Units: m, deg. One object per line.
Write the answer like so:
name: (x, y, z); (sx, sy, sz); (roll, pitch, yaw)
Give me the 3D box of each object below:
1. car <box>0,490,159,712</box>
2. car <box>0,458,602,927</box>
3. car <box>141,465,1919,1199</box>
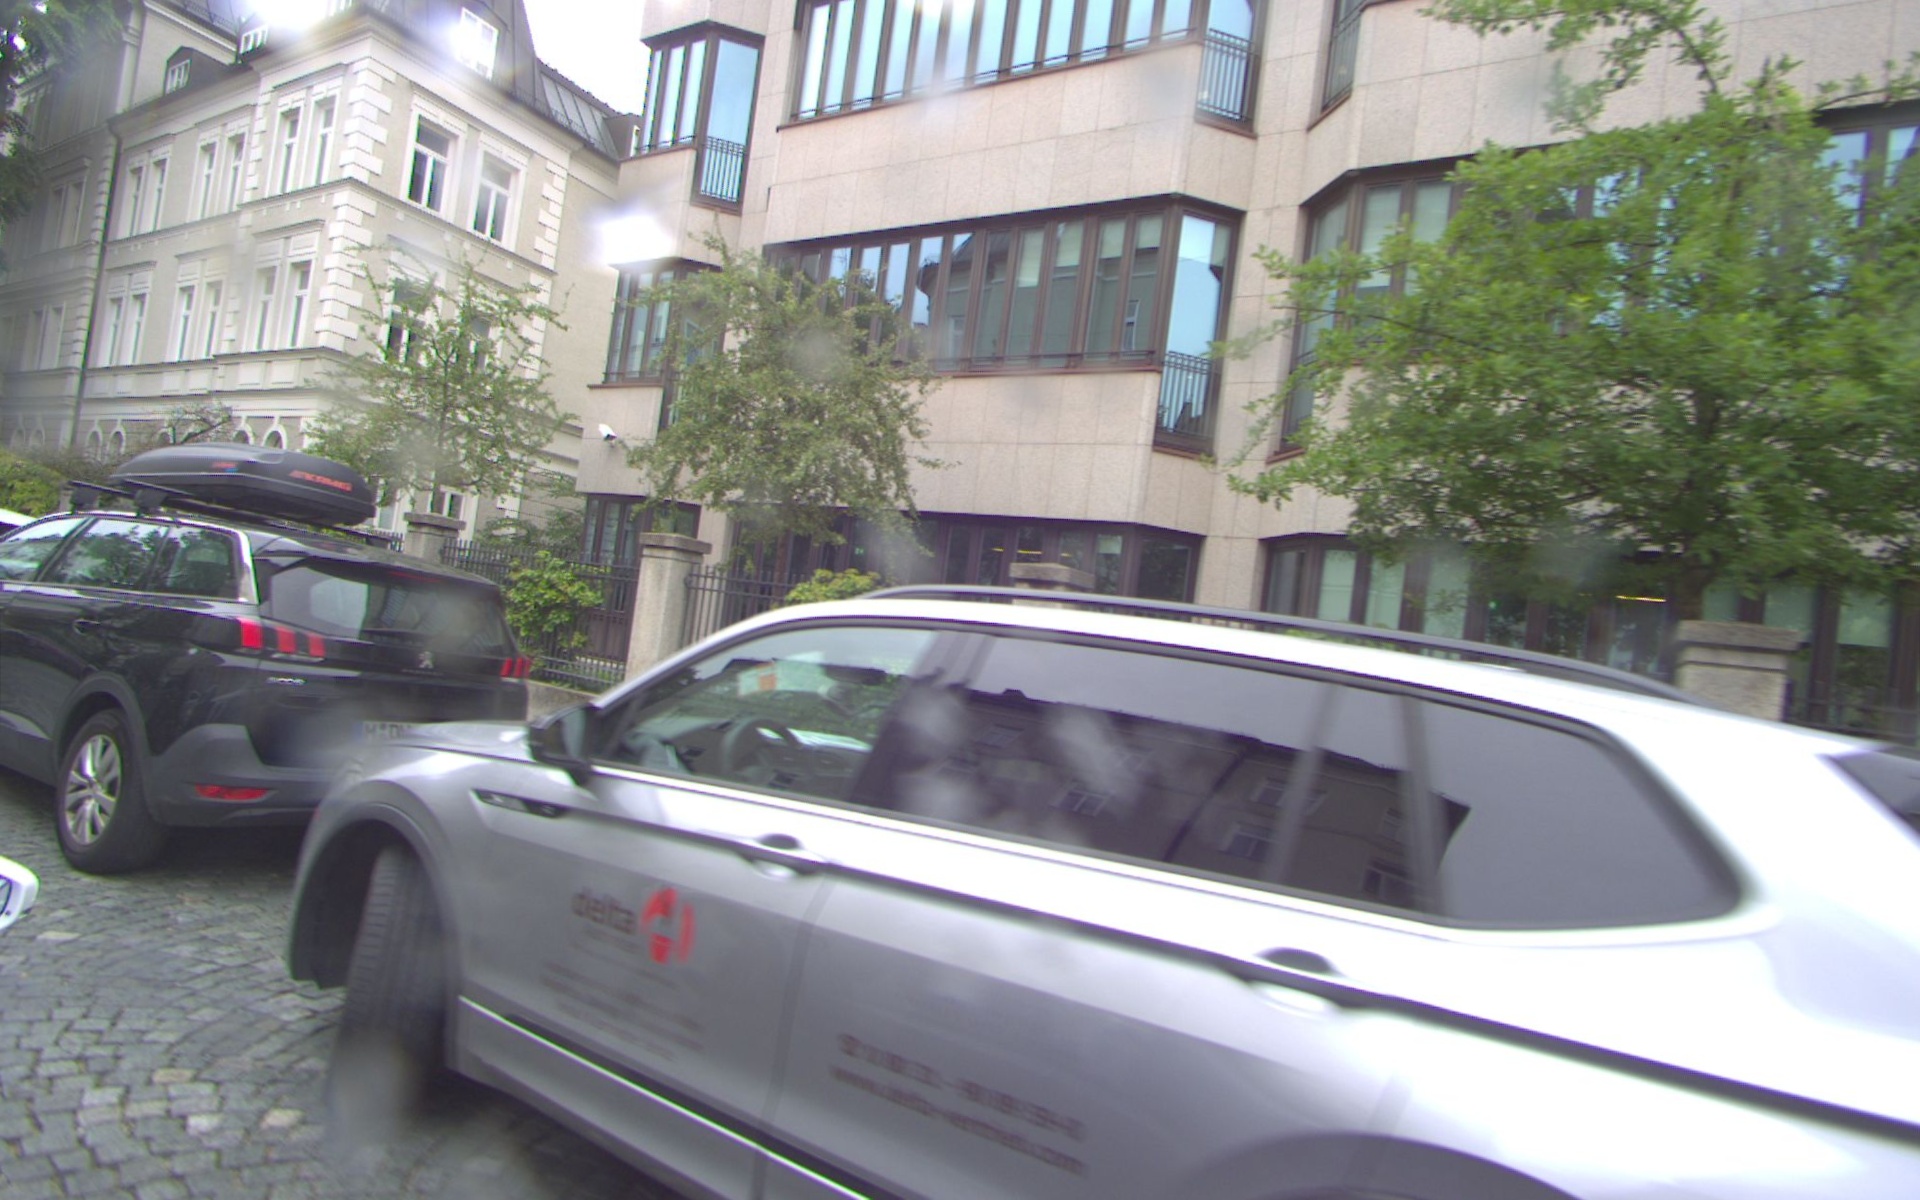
car: (-8.740, -0.250, 8.287); (4.542, 1.505, 1.879); (7, -5, 34)
car: (-4.572, 0.302, 5.836); (4.666, 1.751, 1.882); (7, -6, 29)
car: (-0.015, 0.775, 2.751); (4.812, 1.752, 1.879); (6, -5, 33)
